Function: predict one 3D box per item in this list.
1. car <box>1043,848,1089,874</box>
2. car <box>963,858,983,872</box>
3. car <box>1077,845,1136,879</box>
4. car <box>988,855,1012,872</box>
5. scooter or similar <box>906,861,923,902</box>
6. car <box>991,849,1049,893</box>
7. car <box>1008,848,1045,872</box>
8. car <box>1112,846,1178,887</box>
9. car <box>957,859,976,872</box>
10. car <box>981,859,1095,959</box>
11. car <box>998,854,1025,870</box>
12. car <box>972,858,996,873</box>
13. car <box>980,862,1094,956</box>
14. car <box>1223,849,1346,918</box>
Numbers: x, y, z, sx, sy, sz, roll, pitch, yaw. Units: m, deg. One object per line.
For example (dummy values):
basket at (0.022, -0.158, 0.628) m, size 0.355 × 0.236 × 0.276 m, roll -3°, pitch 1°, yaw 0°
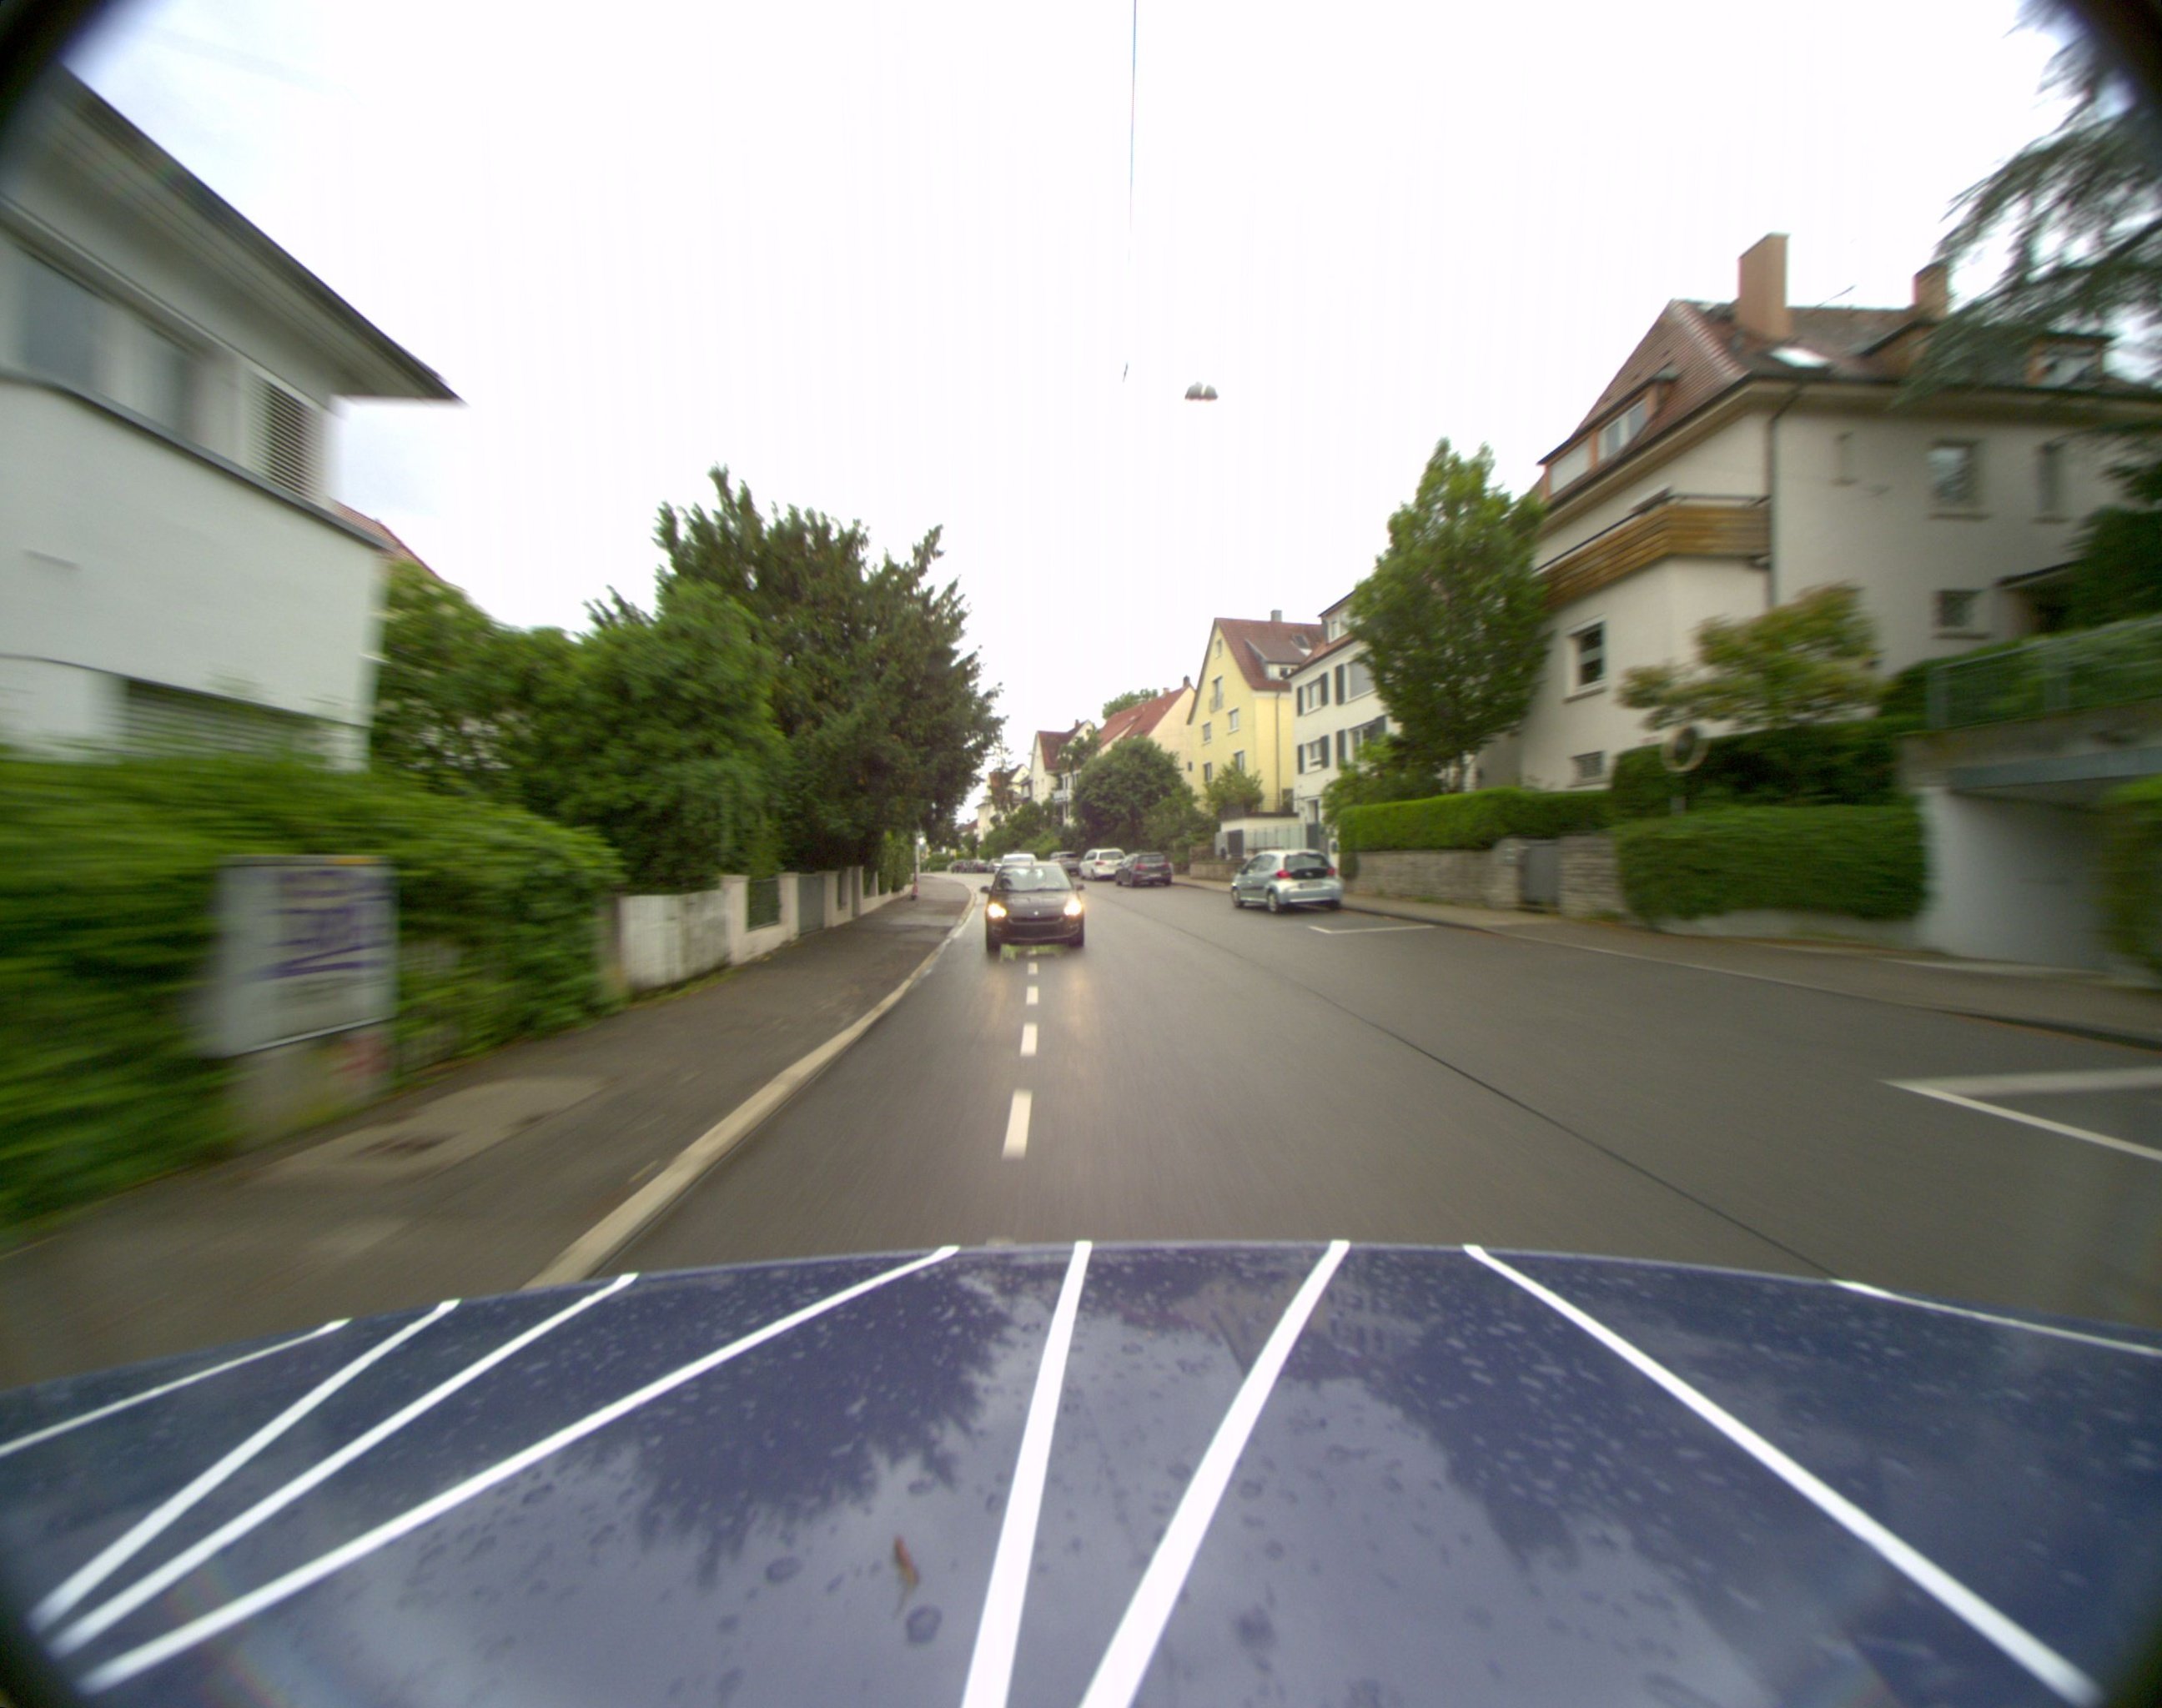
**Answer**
car at (-1.090, 0.462, 52.067) m, size 2.001 × 1.571 × 4.755 m, roll -4°, pitch 0°, yaw -15°
car at (-12.767, 1.315, 89.587) m, size 1.703 × 1.532 × 3.808 m, roll -2°, pitch -1°, yaw -18°
car at (1.339, 0.445, 42.176) m, size 2.000 × 1.692 × 4.733 m, roll -4°, pitch 0°, yaw -13°
car at (-8.058, 0.970, 75.344) m, size 1.653 × 1.438 × 3.624 m, roll -2°, pitch -2°, yaw -18°
scooter or similar at (-5.502, 0.890, 25.209) m, size 0.451 × 1.300 × 1.480 m, roll 0°, pitch 1°, yaw -9°
car at (-2.706, 0.726, 32.960) m, size 1.868 × 1.704 × 3.996 m, roll -2°, pitch 0°, yaw -13°
car at (-4.667, 0.525, 64.237) m, size 2.001 × 1.867 × 5.349 m, roll -3°, pitch 0°, yaw -16°
car at (2.771, 0.534, 33.811) m, size 1.798 × 1.571 × 4.135 m, roll -4°, pitch 0°, yaw -10°
car at (-14.450, 1.501, 95.654) m, size 1.900 × 1.438 × 3.810 m, roll -2°, pitch -2°, yaw -16°
car at (-0.934, 0.965, 14.042) m, size 1.697 × 1.481 × 3.939 m, roll -3°, pitch -2°, yaw -8°
car at (-6.477, 0.733, 70.349) m, size 1.701 × 1.438 × 3.808 m, roll -2°, pitch 0°, yaw -17°
car at (-10.620, 1.312, 82.721) m, size 1.763 × 1.438 × 4.411 m, roll -2°, pitch -2°, yaw -18°
car at (-0.948, 0.895, 14.029) m, size 1.712 × 1.414 × 3.997 m, roll -2°, pitch 0°, yaw -8°
car at (4.892, 0.651, 18.735) m, size 1.610 × 1.477 × 3.484 m, roll -2°, pitch 0°, yaw -9°
